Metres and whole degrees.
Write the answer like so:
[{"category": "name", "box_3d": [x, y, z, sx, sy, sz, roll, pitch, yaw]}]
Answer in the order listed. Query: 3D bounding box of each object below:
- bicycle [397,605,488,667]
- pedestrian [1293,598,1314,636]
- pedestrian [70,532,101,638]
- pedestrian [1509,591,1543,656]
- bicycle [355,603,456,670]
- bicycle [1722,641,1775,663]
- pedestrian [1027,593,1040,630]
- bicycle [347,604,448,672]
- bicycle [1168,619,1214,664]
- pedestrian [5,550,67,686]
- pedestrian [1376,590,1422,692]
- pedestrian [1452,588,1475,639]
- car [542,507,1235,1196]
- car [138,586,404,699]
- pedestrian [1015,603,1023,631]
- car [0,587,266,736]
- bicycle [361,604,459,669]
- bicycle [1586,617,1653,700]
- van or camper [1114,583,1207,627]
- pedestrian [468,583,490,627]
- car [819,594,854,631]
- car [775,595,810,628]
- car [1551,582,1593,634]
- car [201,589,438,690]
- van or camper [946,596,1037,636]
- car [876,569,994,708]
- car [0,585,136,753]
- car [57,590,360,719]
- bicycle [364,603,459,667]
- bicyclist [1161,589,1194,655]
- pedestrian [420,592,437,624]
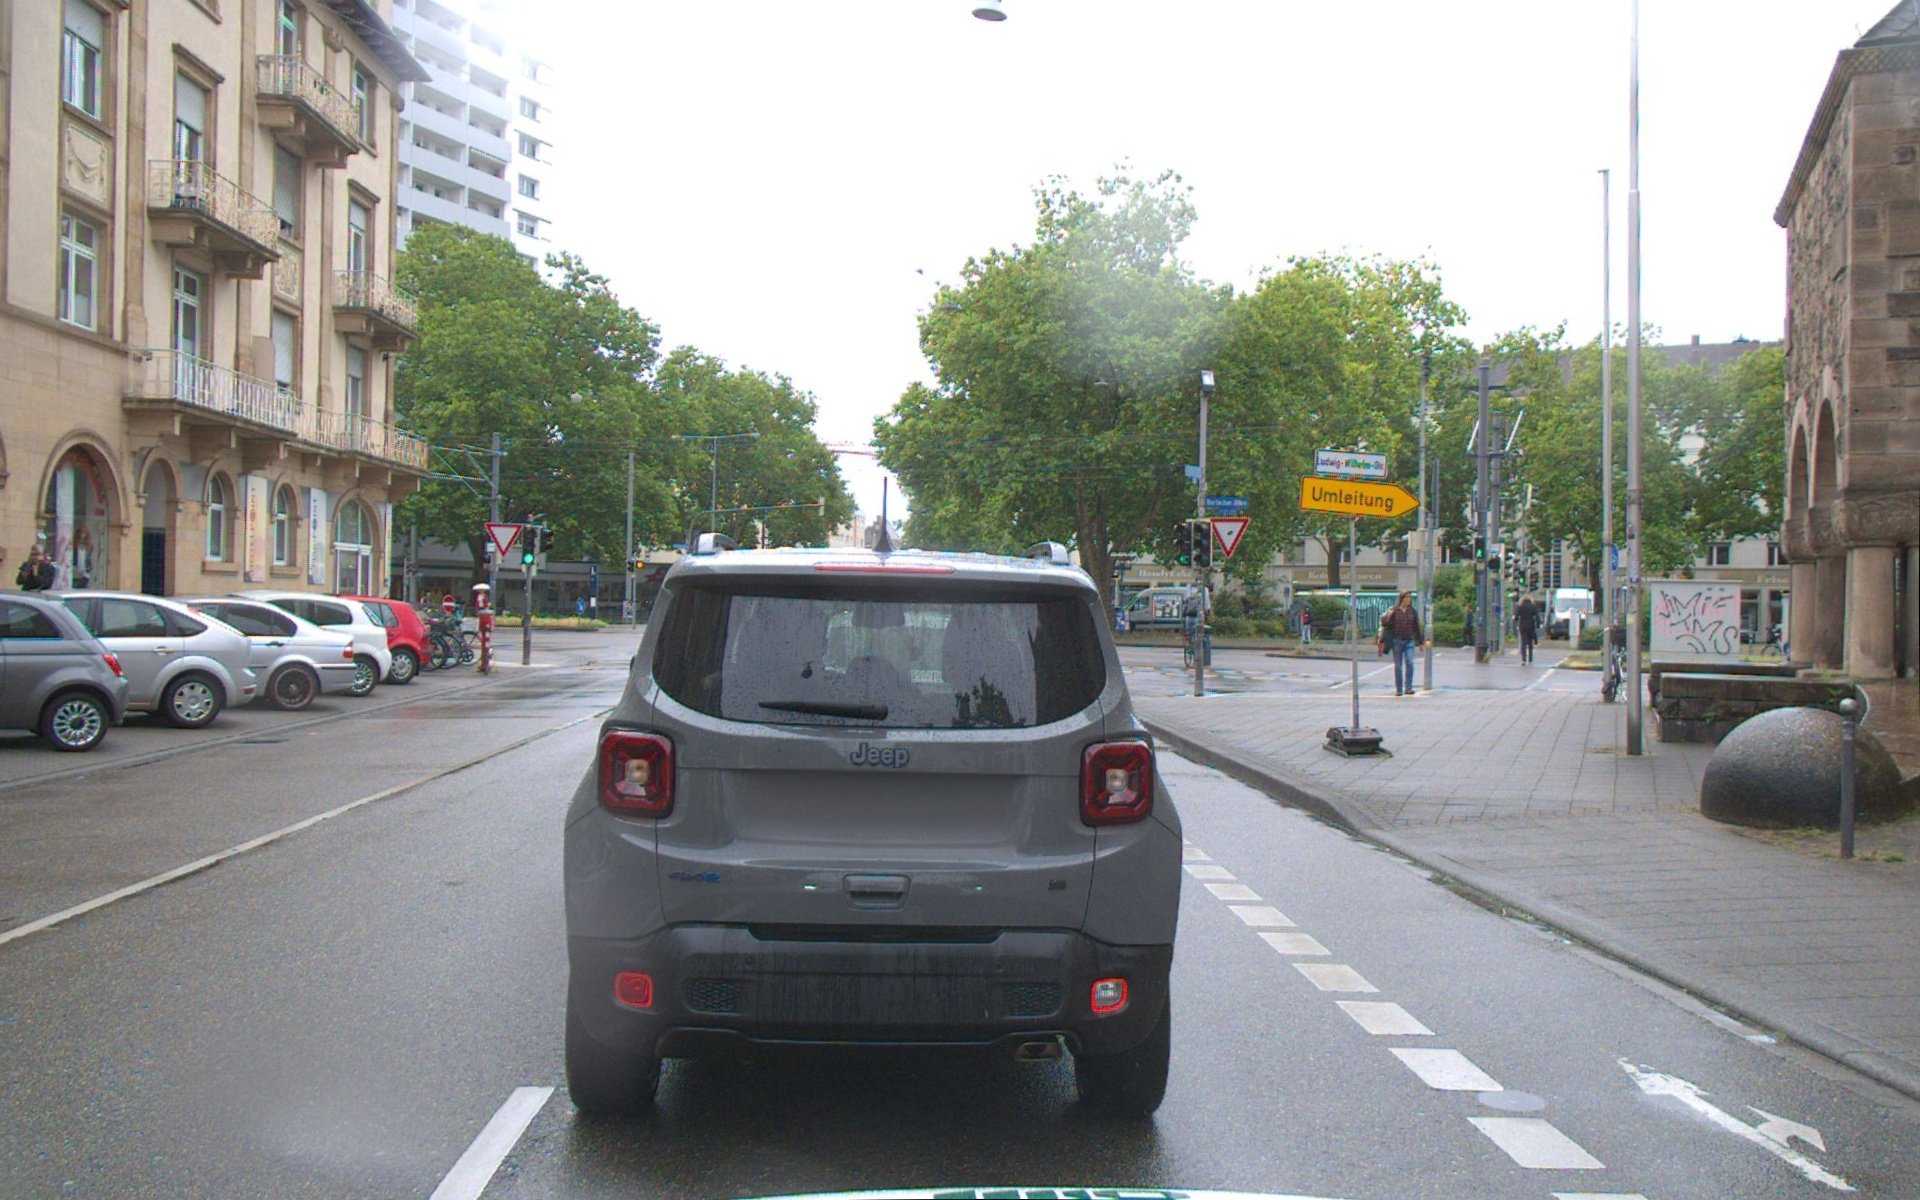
[{"category": "bicycle", "box_3d": [-10.884, 0.753, 34.808, 1.728, 1.288, 0.608, 0, 0, -3]}, {"category": "pedestrian", "box_3d": [14.371, 0.723, 69.226, 0.660, 1.581, 0.761, 0, -2, 27]}, {"category": "pedestrian", "box_3d": [-15.359, -0.262, 29.040, 0.359, 1.854, 0.347, 0, -1, -4]}, {"category": "pedestrian", "box_3d": [14.580, 0.601, 42.598, 0.767, 1.674, 0.655, 0, 0, 23]}, {"category": "bicycle", "box_3d": [-10.790, 0.715, 32.219, 1.774, 1.288, 0.498, 0, 0, -3]}, {"category": "bicycle", "box_3d": [28.001, 1.829, 58.758, 1.662, 0.731, 0.653, 0, 0, 20]}, {"category": "pedestrian", "box_3d": [4.104, 0.650, 92.552, 0.637, 2.049, 0.483, 1, 0, 11]}, {"category": "bicycle", "box_3d": [-10.762, 0.724, 31.673, 1.728, 1.288, 0.522, 0, 0, -3]}, {"category": "bicycle", "box_3d": [5.848, 1.028, 41.741, 0.677, 1.039, 2.659, 0, 0, 19]}, {"category": "pedestrian", "box_3d": [-14.116, 0.274, 25.286, 0.556, 2.049, 0.654, 1, 0, -1]}, {"category": "pedestrian", "box_3d": [7.888, 0.725, 29.731, 0.769, 1.790, 0.946, 0, 0, 14]}, {"category": "pedestrian", "box_3d": [20.228, 0.543, 66.460, 0.789, 2.049, 0.589, 0, 0, 26]}, {"category": "car", "box_3d": [-0.238, 0.623, 6.096, 1.739, 1.716, 3.846, 0, 0, -2]}, {"category": "car", "box_3d": [-10.363, 0.611, 24.980, 3.372, 1.585, 1.681, 1, 0, -41]}, {"category": "pedestrian", "box_3d": [3.668, 1.061, 102.348, 0.448, 1.733, 0.424, 1, 0, -1]}, {"category": "car", "box_3d": [-9.963, 0.661, 18.946, 3.372, 1.585, 1.681, 1, 0, -41]}, {"category": "bicycle", "box_3d": [-10.931, 0.723, 32.900, 1.774, 1.288, 0.498, 0, 0, -3]}, {"category": "bicycle", "box_3d": [9.871, 0.852, 24.804, 0.322, 1.174, 2.076, 0, 0, 4]}, {"category": "van or camper", "box_3d": [11.469, 0.267, 94.847, 5.149, 2.356, 2.090, 1, 0, 3]}, {"category": "pedestrian", "box_3d": [-20.390, 0.194, 70.137, 0.605, 1.858, 0.695, 0, 0, 12]}, {"category": "car", "box_3d": [-6.191, 0.610, 82.623, 1.688, 1.769, 3.726, 1, 0, -5]}, {"category": "car", "box_3d": [-8.853, 0.585, 87.692, 1.779, 1.700, 3.916, 1, 0, -5]}, {"category": "car", "box_3d": [31.189, 0.402, 84.229, 1.868, 2.600, 4.786, 0, 0, 22]}, {"category": "car", "box_3d": [-10.751, 0.634, 27.841, 3.372, 1.585, 1.681, 1, 0, -41]}, {"category": "van or camper", "box_3d": [2.400, 1.199, 124.661, 6.395, 2.963, 2.493, 0, 0, 24]}, {"category": "car", "box_3d": [-0.419, 0.569, 26.565, 1.734, 2.049, 3.999, 1, 0, -1]}, {"category": "car", "box_3d": [-9.967, 0.642, 15.917, 3.372, 1.585, 1.628, 1, 0, -41]}, {"category": "car", "box_3d": [-10.009, 0.685, 22.128, 3.372, 1.585, 1.681, 1, 0, -41]}, {"category": "bicycle", "box_3d": [-11.234, 0.705, 33.922, 1.728, 1.288, 0.608, 0, 0, -3]}, {"category": "bicyclist", "box_3d": [5.482, 0.550, 41.648, 0.672, 1.646, 0.884, 0, 0, 19]}, {"category": "pedestrian", "box_3d": [-25.873, 0.391, 80.554, 0.433, 1.556, 0.643, 0, 0, 24]}]
